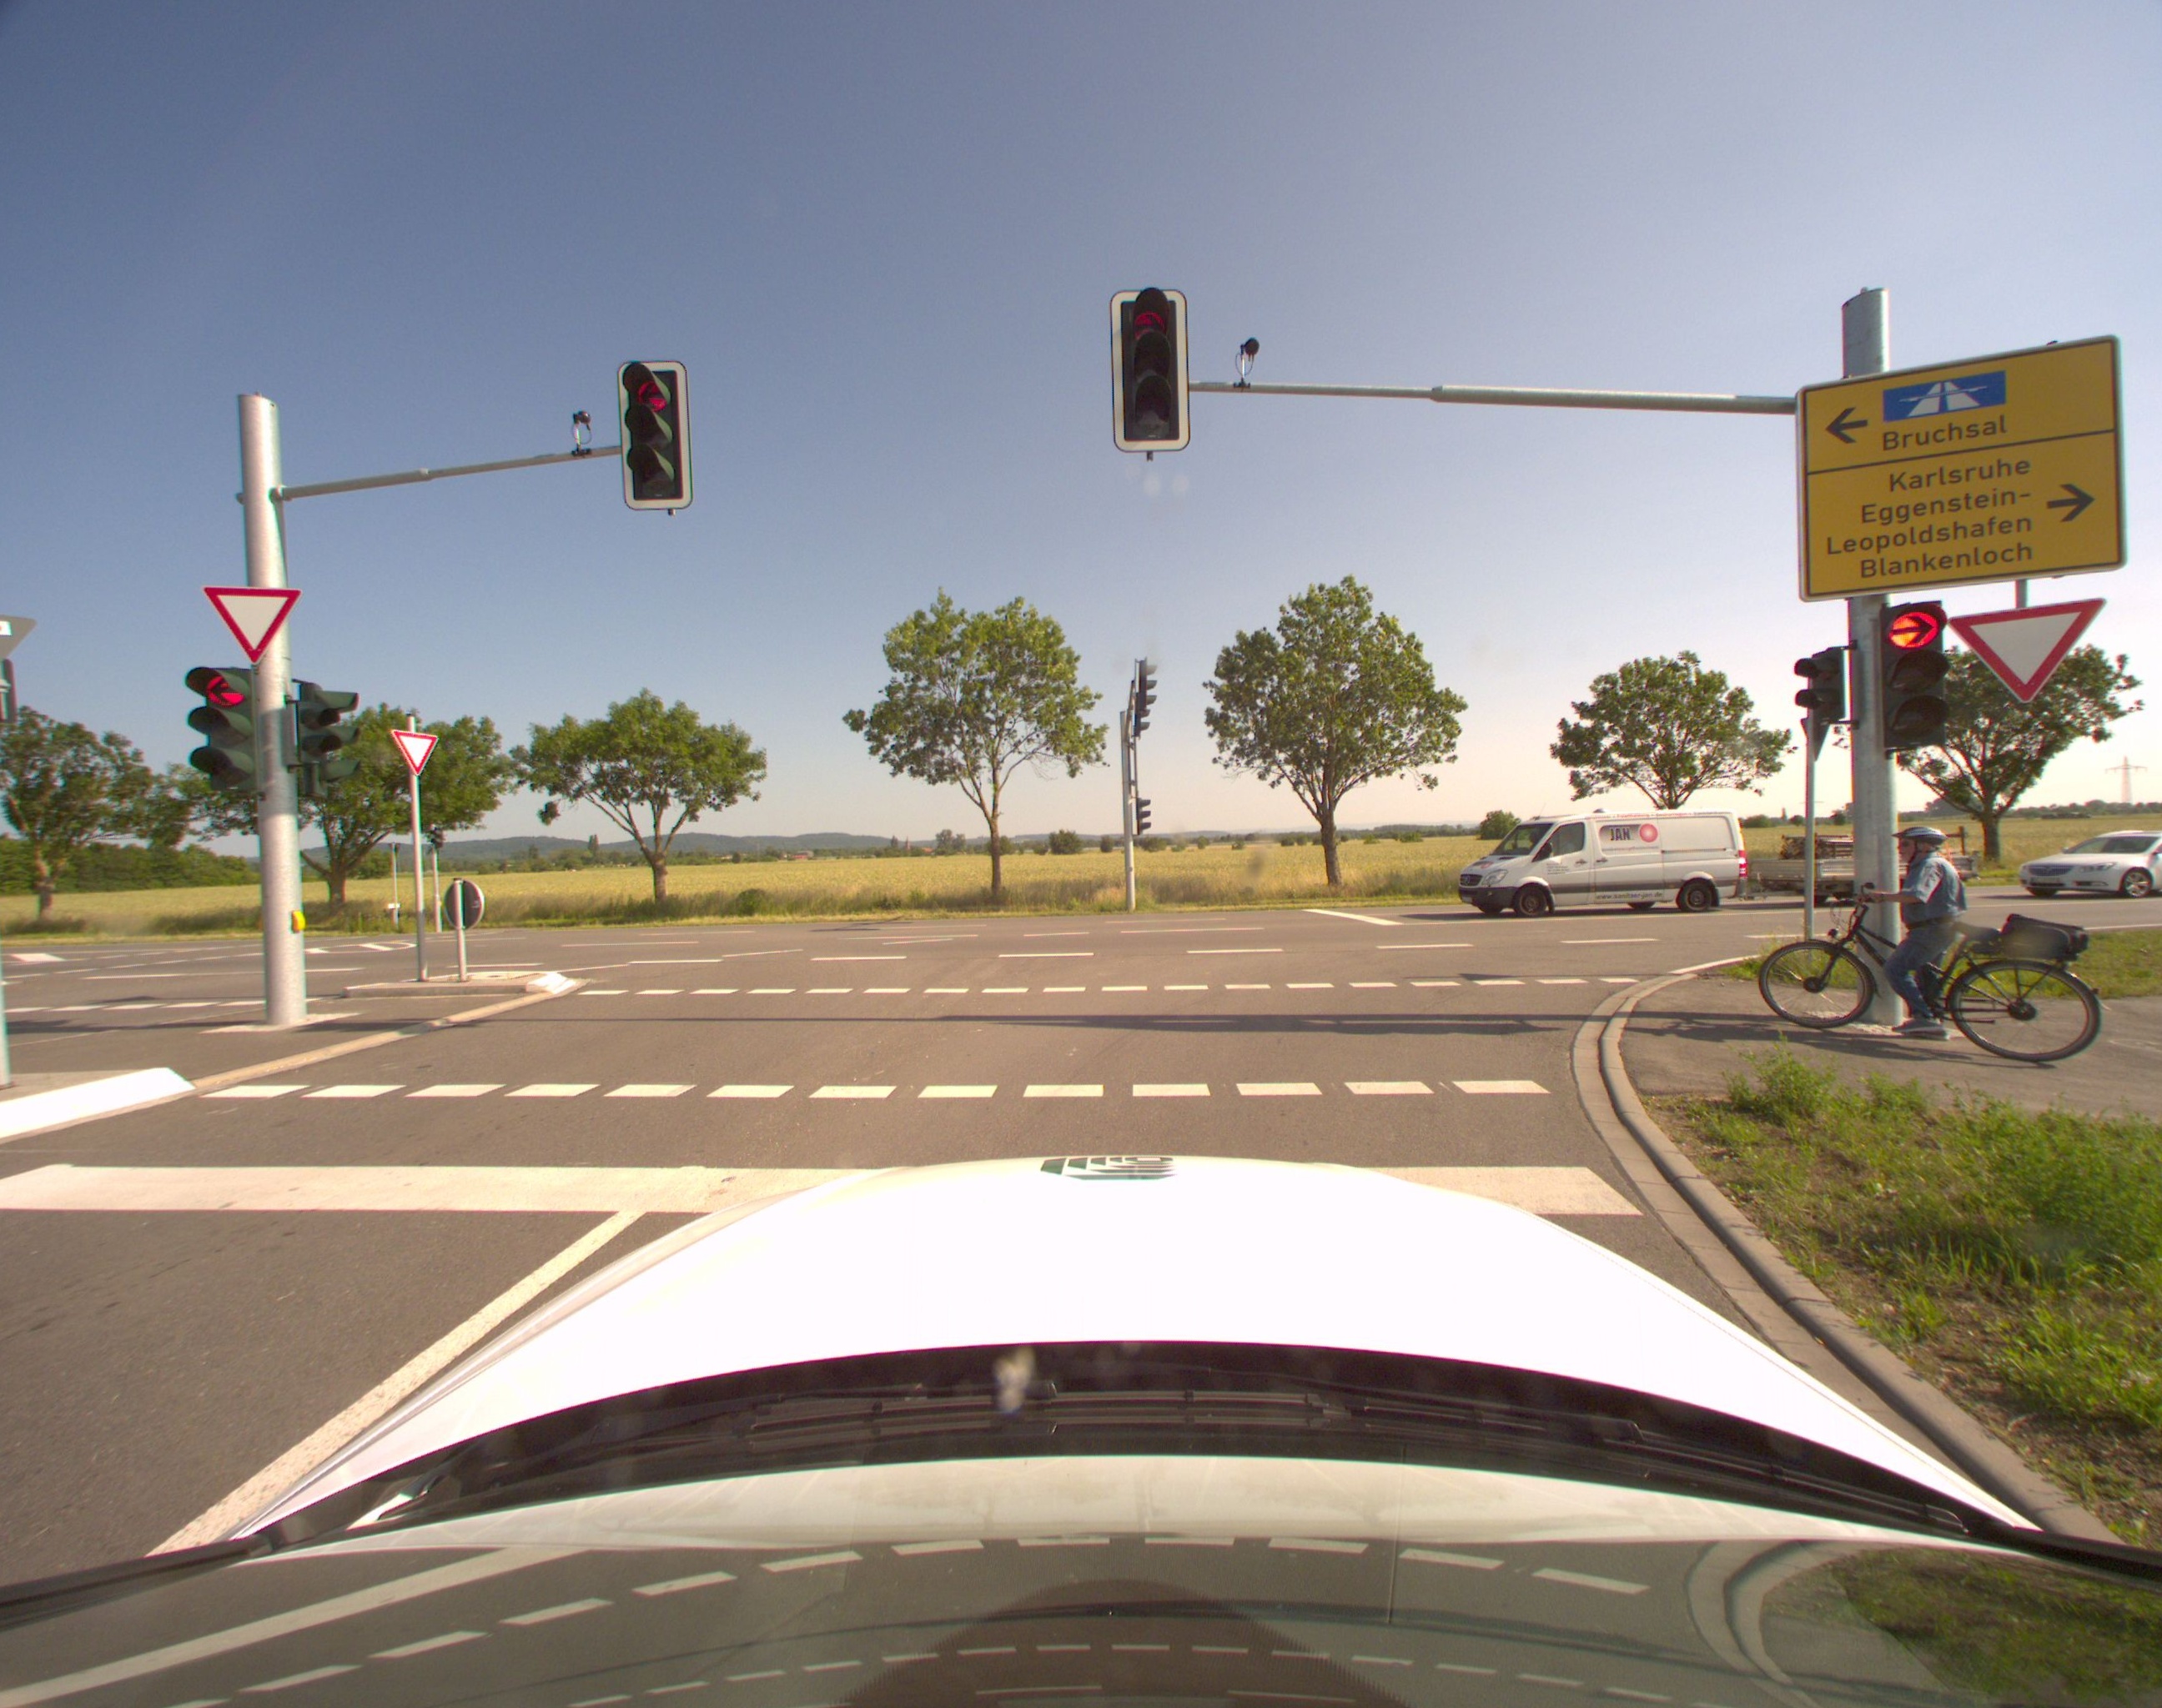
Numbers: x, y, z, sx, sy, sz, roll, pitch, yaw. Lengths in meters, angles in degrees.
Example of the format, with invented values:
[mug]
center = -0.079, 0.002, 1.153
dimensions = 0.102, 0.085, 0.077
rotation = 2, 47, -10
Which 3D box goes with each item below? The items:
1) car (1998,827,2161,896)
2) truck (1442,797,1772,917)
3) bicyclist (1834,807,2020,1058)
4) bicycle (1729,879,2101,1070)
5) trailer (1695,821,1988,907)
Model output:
[car]
center = 24.644, 0.131, 19.000
dimensions = 4.682, 1.492, 1.763
rotation = -2, -1, -3
[truck]
center = 11.824, 0.076, 18.634
dimensions = 6.157, 2.405, 2.071
rotation = -2, -1, 0
[bicyclist]
center = 6.447, 0.536, 6.242
dimensions = 0.623, 1.765, 0.906
rotation = 0, 1, -44
[bicycle]
center = 6.358, 0.832, 6.362
dimensions = 0.685, 1.151, 1.922
rotation = 0, 2, -44
[trailer]
center = 17.401, 0.223, 18.807
dimensions = 4.982, 1.738, 1.979
rotation = -2, -1, -2
